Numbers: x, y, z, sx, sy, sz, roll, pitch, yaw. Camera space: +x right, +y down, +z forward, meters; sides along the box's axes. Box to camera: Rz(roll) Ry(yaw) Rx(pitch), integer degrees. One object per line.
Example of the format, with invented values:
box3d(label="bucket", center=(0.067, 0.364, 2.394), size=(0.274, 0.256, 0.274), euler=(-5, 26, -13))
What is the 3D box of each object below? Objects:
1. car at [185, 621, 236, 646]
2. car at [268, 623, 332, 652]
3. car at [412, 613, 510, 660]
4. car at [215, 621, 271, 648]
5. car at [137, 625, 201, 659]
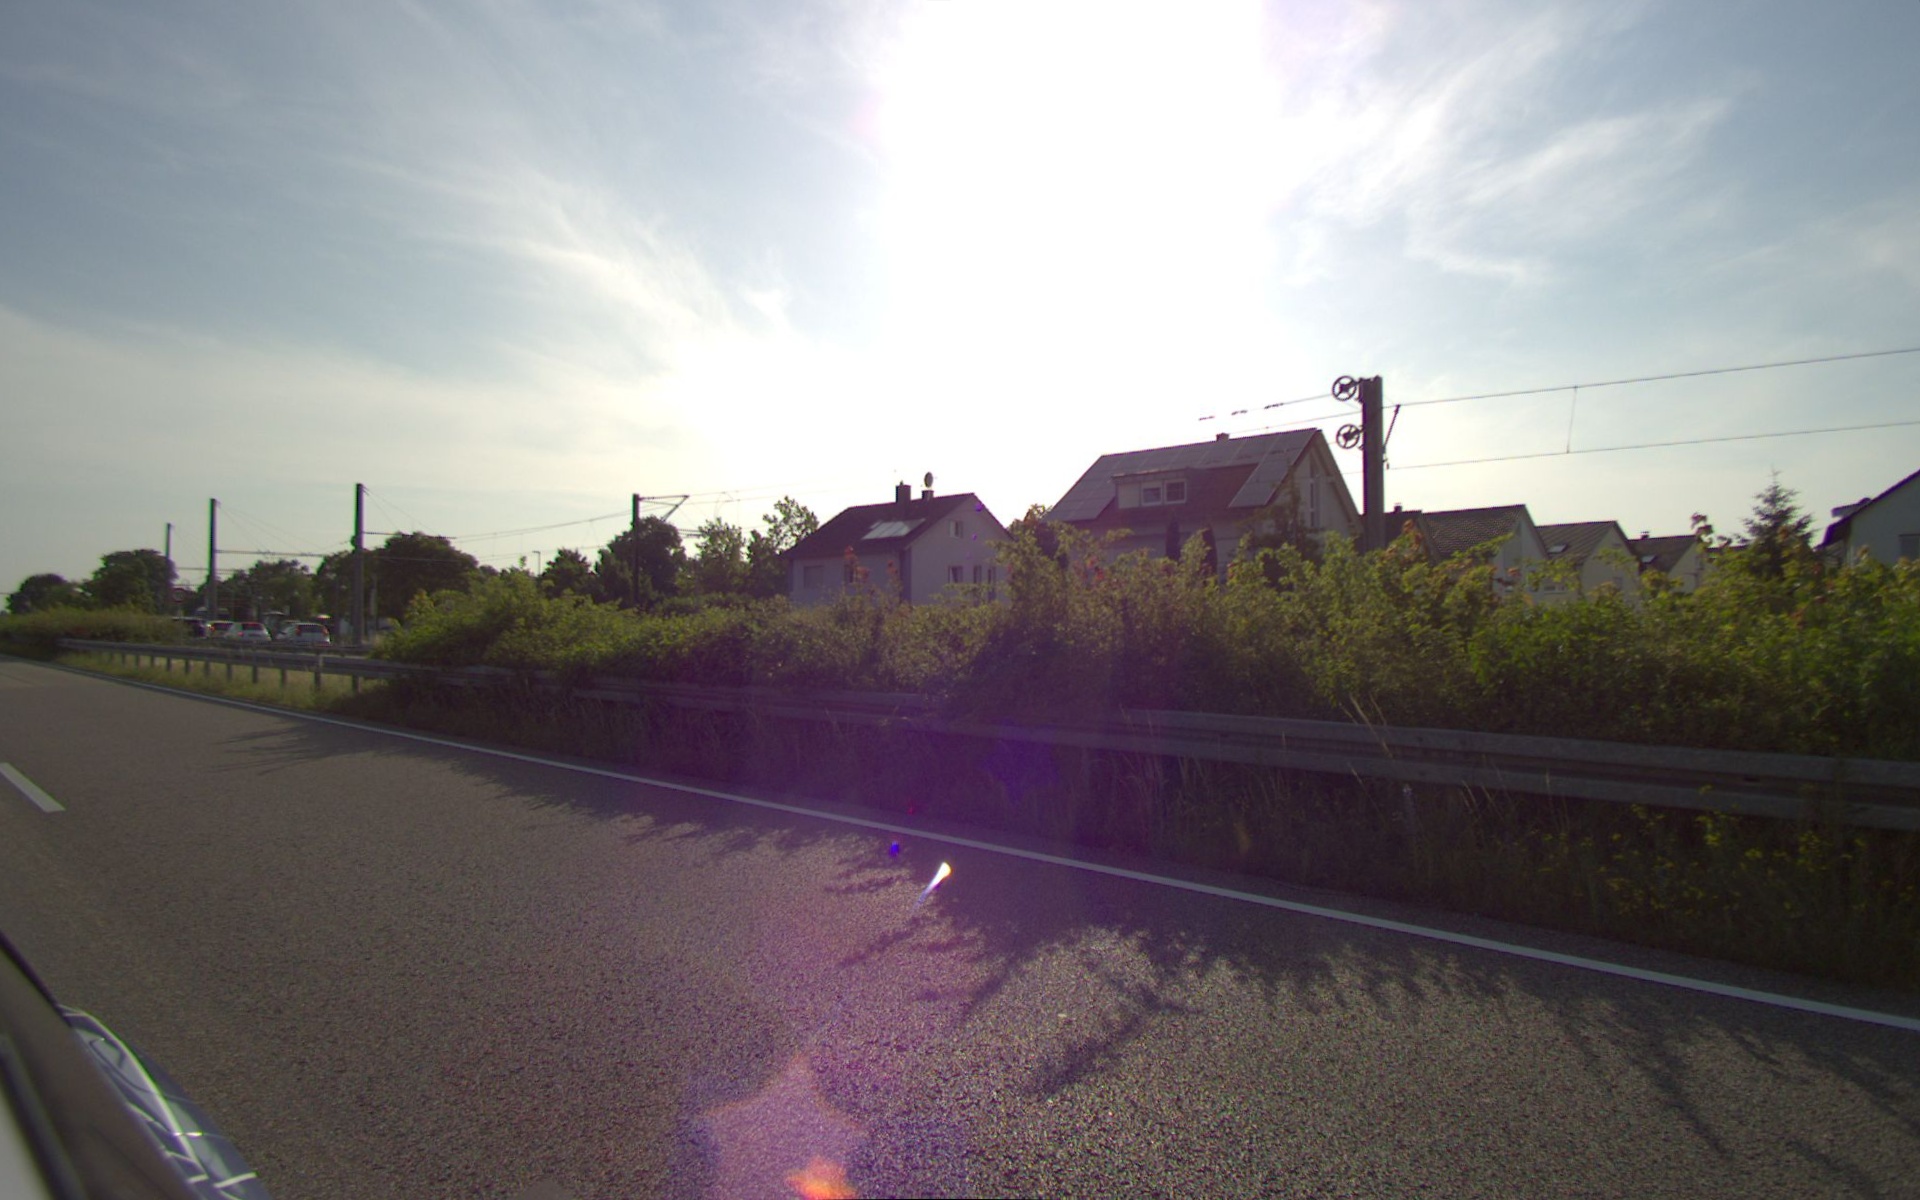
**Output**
box3d(label="car", center=(-45.197, 2.020, 60.997), size=(3.620, 1.377, 1.711), euler=(-1, -4, 41))
box3d(label="car", center=(-33.018, 1.878, 50.612), size=(3.620, 1.377, 1.711), euler=(-1, -4, 41))
box3d(label="car", center=(-18.611, 1.320, 37.695), size=(4.444, 1.624, 1.697), euler=(-1, 0, 41))
box3d(label="car", center=(-39.734, 1.908, 56.068), size=(3.620, 1.377, 1.711), euler=(-1, -4, 41))
box3d(label="car", center=(-40.055, 2.117, 51.207), size=(4.317, 1.646, 1.711), euler=(-1, -4, 41))
